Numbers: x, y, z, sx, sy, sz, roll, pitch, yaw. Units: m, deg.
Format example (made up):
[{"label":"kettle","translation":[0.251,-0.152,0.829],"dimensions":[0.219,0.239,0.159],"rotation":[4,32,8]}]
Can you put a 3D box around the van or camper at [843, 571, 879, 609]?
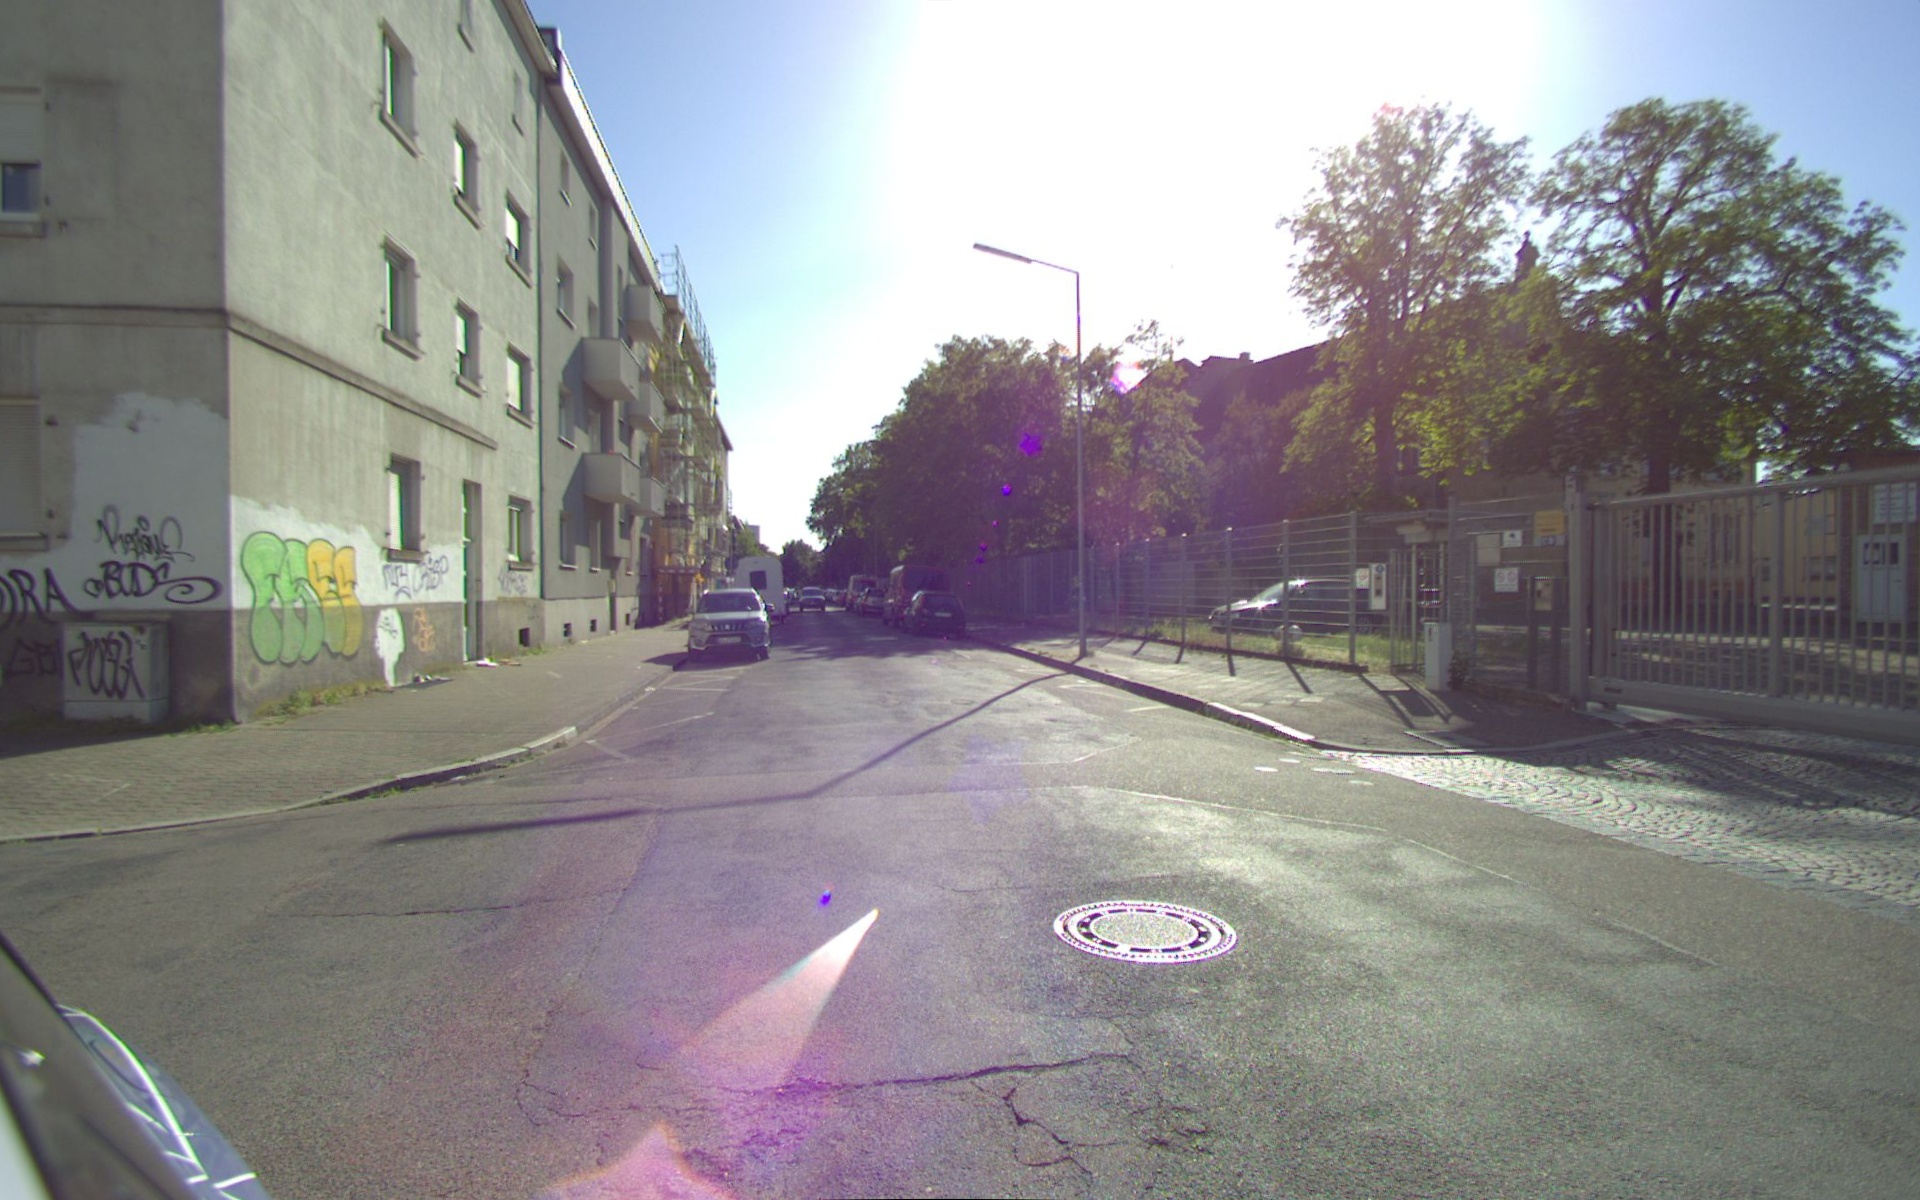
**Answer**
[{"label":"van or camper","translation":[-6.844,-0.732,69.610],"dimensions":[2.092,2.517,4.009],"rotation":[-1,1,-11]}]

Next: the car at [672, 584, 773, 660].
[{"label":"car","translation":[-5.384,0.424,23.317],"dimensions":[2.037,1.564,4.009],"rotation":[-1,1,-11]}]

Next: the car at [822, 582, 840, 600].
[{"label":"car","translation":[-15.022,-1.038,117.584],"dimensions":[1.968,2.029,4.008],"rotation":[0,1,-10]}]

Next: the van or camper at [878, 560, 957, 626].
[{"label":"van or camper","translation":[-1.717,-0.295,38.411],"dimensions":[2.177,2.298,5.323],"rotation":[-1,1,-11]}]

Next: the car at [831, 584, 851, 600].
[{"label":"car","translation":[-12.917,-0.882,109.497],"dimensions":[1.968,1.762,4.008],"rotation":[0,1,-10]}]

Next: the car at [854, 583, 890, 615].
[{"label":"car","translation":[-4.993,-0.078,56.903],"dimensions":[1.626,1.696,4.009],"rotation":[-1,1,-11]}]

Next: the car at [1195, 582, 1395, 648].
[{"label":"car","translation":[7.752,0.306,23.599],"dimensions":[3.935,1.431,2.004],"rotation":[-1,1,-10]}]

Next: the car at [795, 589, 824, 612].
[{"label":"car","translation":[-10.673,-0.011,71.684],"dimensions":[1.833,1.563,4.009],"rotation":[-1,1,-11]}]

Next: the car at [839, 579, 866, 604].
[{"label":"car","translation":[-9.010,-0.682,84.411],"dimensions":[1.968,2.029,4.008],"rotation":[0,1,-10]}]

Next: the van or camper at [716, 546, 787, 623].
[{"label":"van or camper","translation":[-9.278,-0.658,45.606],"dimensions":[2.912,3.204,6.186],"rotation":[0,0,-10]}]

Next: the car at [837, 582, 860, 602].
[{"label":"car","translation":[-10.632,-0.772,96.151],"dimensions":[1.968,1.797,4.008],"rotation":[0,1,-10]}]

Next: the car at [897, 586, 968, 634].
[{"label":"car","translation":[-0.957,0.268,32.547],"dimensions":[1.626,1.427,4.009],"rotation":[-1,1,-11]}]
